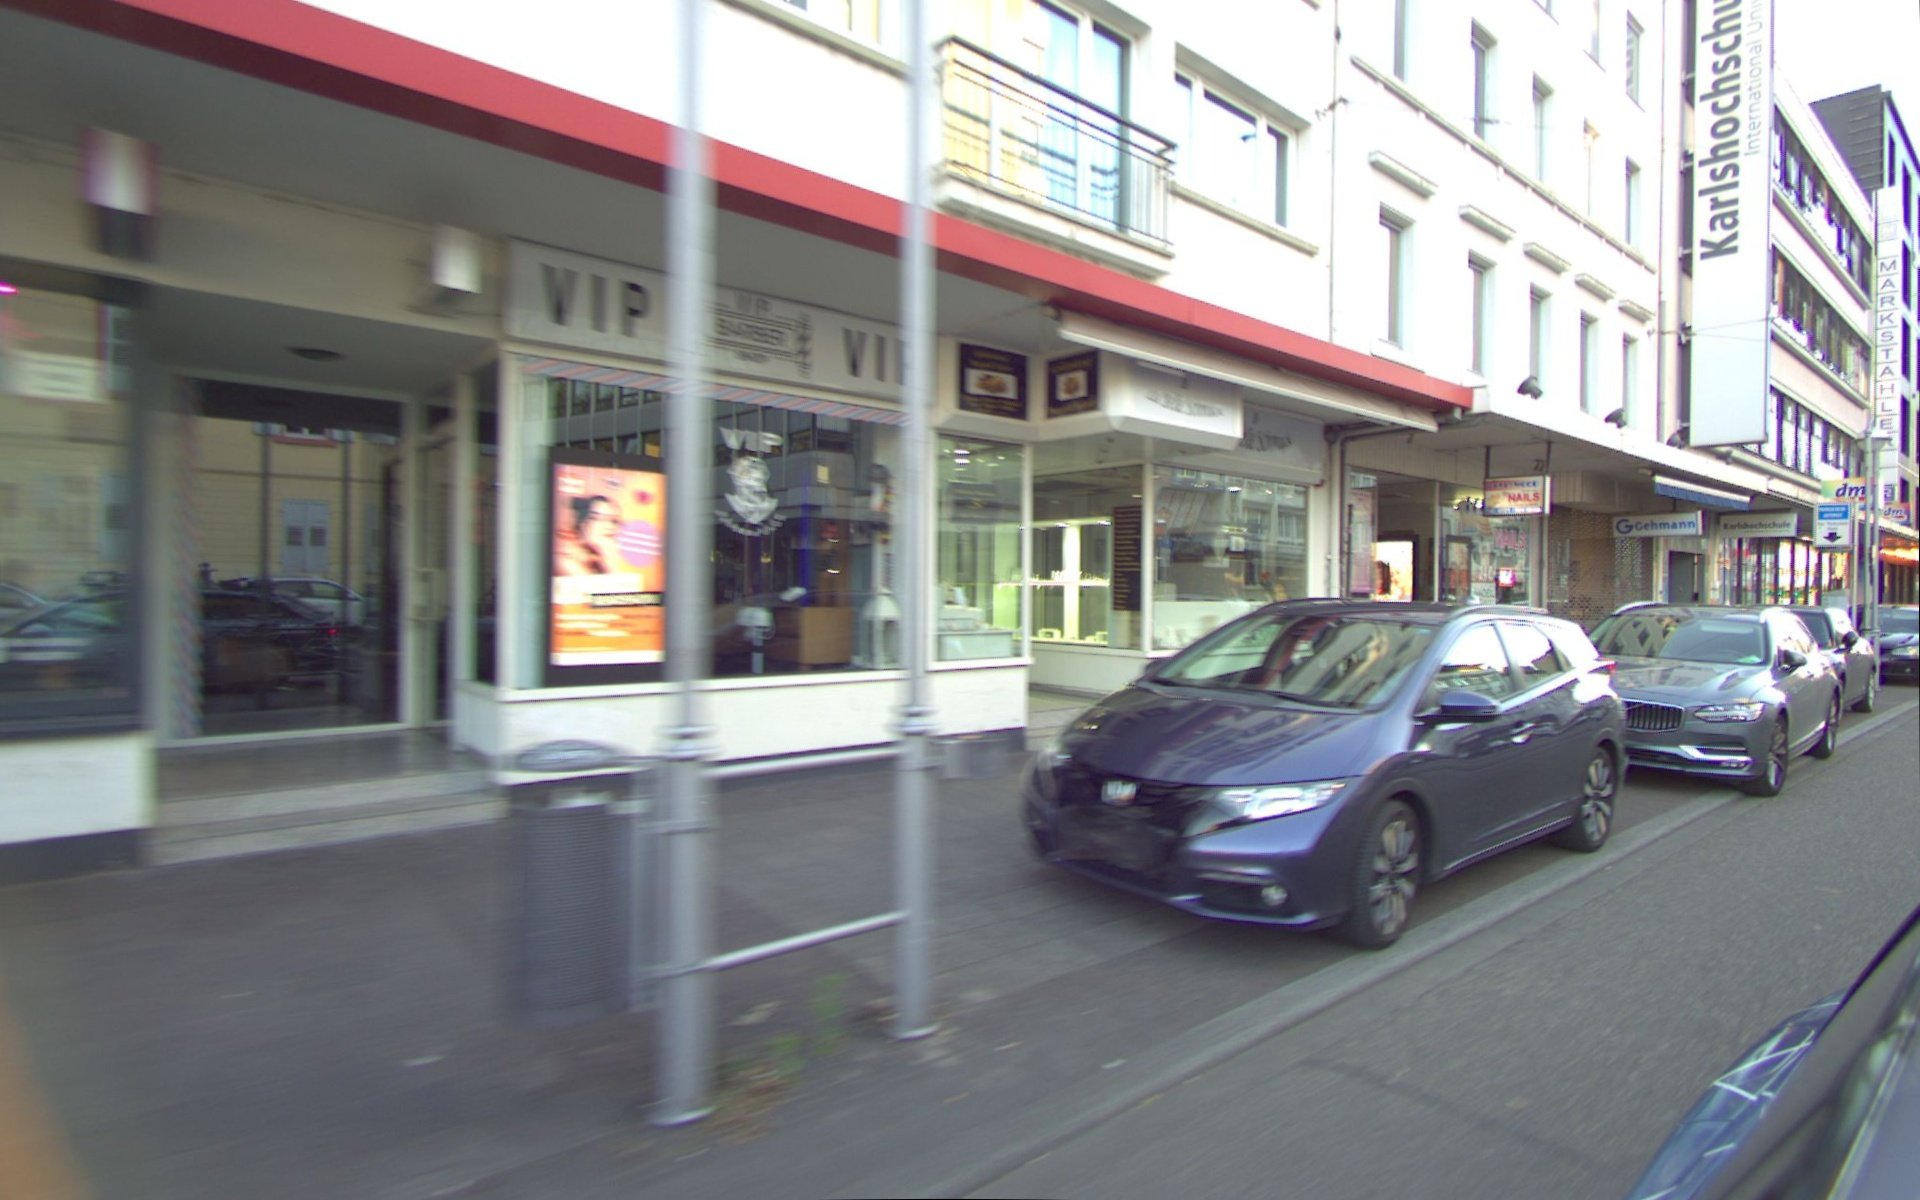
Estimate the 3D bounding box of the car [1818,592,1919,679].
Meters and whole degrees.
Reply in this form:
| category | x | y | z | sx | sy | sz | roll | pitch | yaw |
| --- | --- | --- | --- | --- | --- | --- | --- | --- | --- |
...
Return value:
| category | x | y | z | sx | sy | sz | roll | pitch | yaw |
| --- | --- | --- | --- | --- | --- | --- | --- | --- | --- |
| car | 18.127 | 0.614 | 19.529 | 4.000 | 1.533 | 1.768 | -1 | -1 | -41 |

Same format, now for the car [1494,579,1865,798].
| category | x | y | z | sx | sy | sz | roll | pitch | yaw |
| --- | --- | --- | --- | --- | --- | --- | --- | --- | --- |
| car | 6.883 | 0.615 | 9.453 | 4.773 | 1.552 | 1.794 | -1 | -1 | -42 |

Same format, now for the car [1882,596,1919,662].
| category | x | y | z | sx | sy | sz | roll | pitch | yaw |
| --- | --- | --- | --- | --- | --- | --- | --- | --- | --- |
| car | 23.335 | 0.640 | 24.025 | 3.952 | 1.481 | 1.657 | -1 | -1 | -41 |

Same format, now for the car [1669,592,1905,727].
| category | x | y | z | sx | sy | sz | roll | pitch | yaw |
| --- | --- | --- | --- | --- | --- | --- | --- | --- | --- |
| car | 10.958 | 0.669 | 13.327 | 3.930 | 1.500 | 1.729 | -1 | -1 | -41 |

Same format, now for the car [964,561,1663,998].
| category | x | y | z | sx | sy | sz | roll | pitch | yaw |
| --- | --- | --- | --- | --- | --- | --- | --- | --- | --- |
| car | 2.216 | 0.649 | 5.665 | 4.280 | 1.542 | 1.784 | 0 | -1 | -41 |
